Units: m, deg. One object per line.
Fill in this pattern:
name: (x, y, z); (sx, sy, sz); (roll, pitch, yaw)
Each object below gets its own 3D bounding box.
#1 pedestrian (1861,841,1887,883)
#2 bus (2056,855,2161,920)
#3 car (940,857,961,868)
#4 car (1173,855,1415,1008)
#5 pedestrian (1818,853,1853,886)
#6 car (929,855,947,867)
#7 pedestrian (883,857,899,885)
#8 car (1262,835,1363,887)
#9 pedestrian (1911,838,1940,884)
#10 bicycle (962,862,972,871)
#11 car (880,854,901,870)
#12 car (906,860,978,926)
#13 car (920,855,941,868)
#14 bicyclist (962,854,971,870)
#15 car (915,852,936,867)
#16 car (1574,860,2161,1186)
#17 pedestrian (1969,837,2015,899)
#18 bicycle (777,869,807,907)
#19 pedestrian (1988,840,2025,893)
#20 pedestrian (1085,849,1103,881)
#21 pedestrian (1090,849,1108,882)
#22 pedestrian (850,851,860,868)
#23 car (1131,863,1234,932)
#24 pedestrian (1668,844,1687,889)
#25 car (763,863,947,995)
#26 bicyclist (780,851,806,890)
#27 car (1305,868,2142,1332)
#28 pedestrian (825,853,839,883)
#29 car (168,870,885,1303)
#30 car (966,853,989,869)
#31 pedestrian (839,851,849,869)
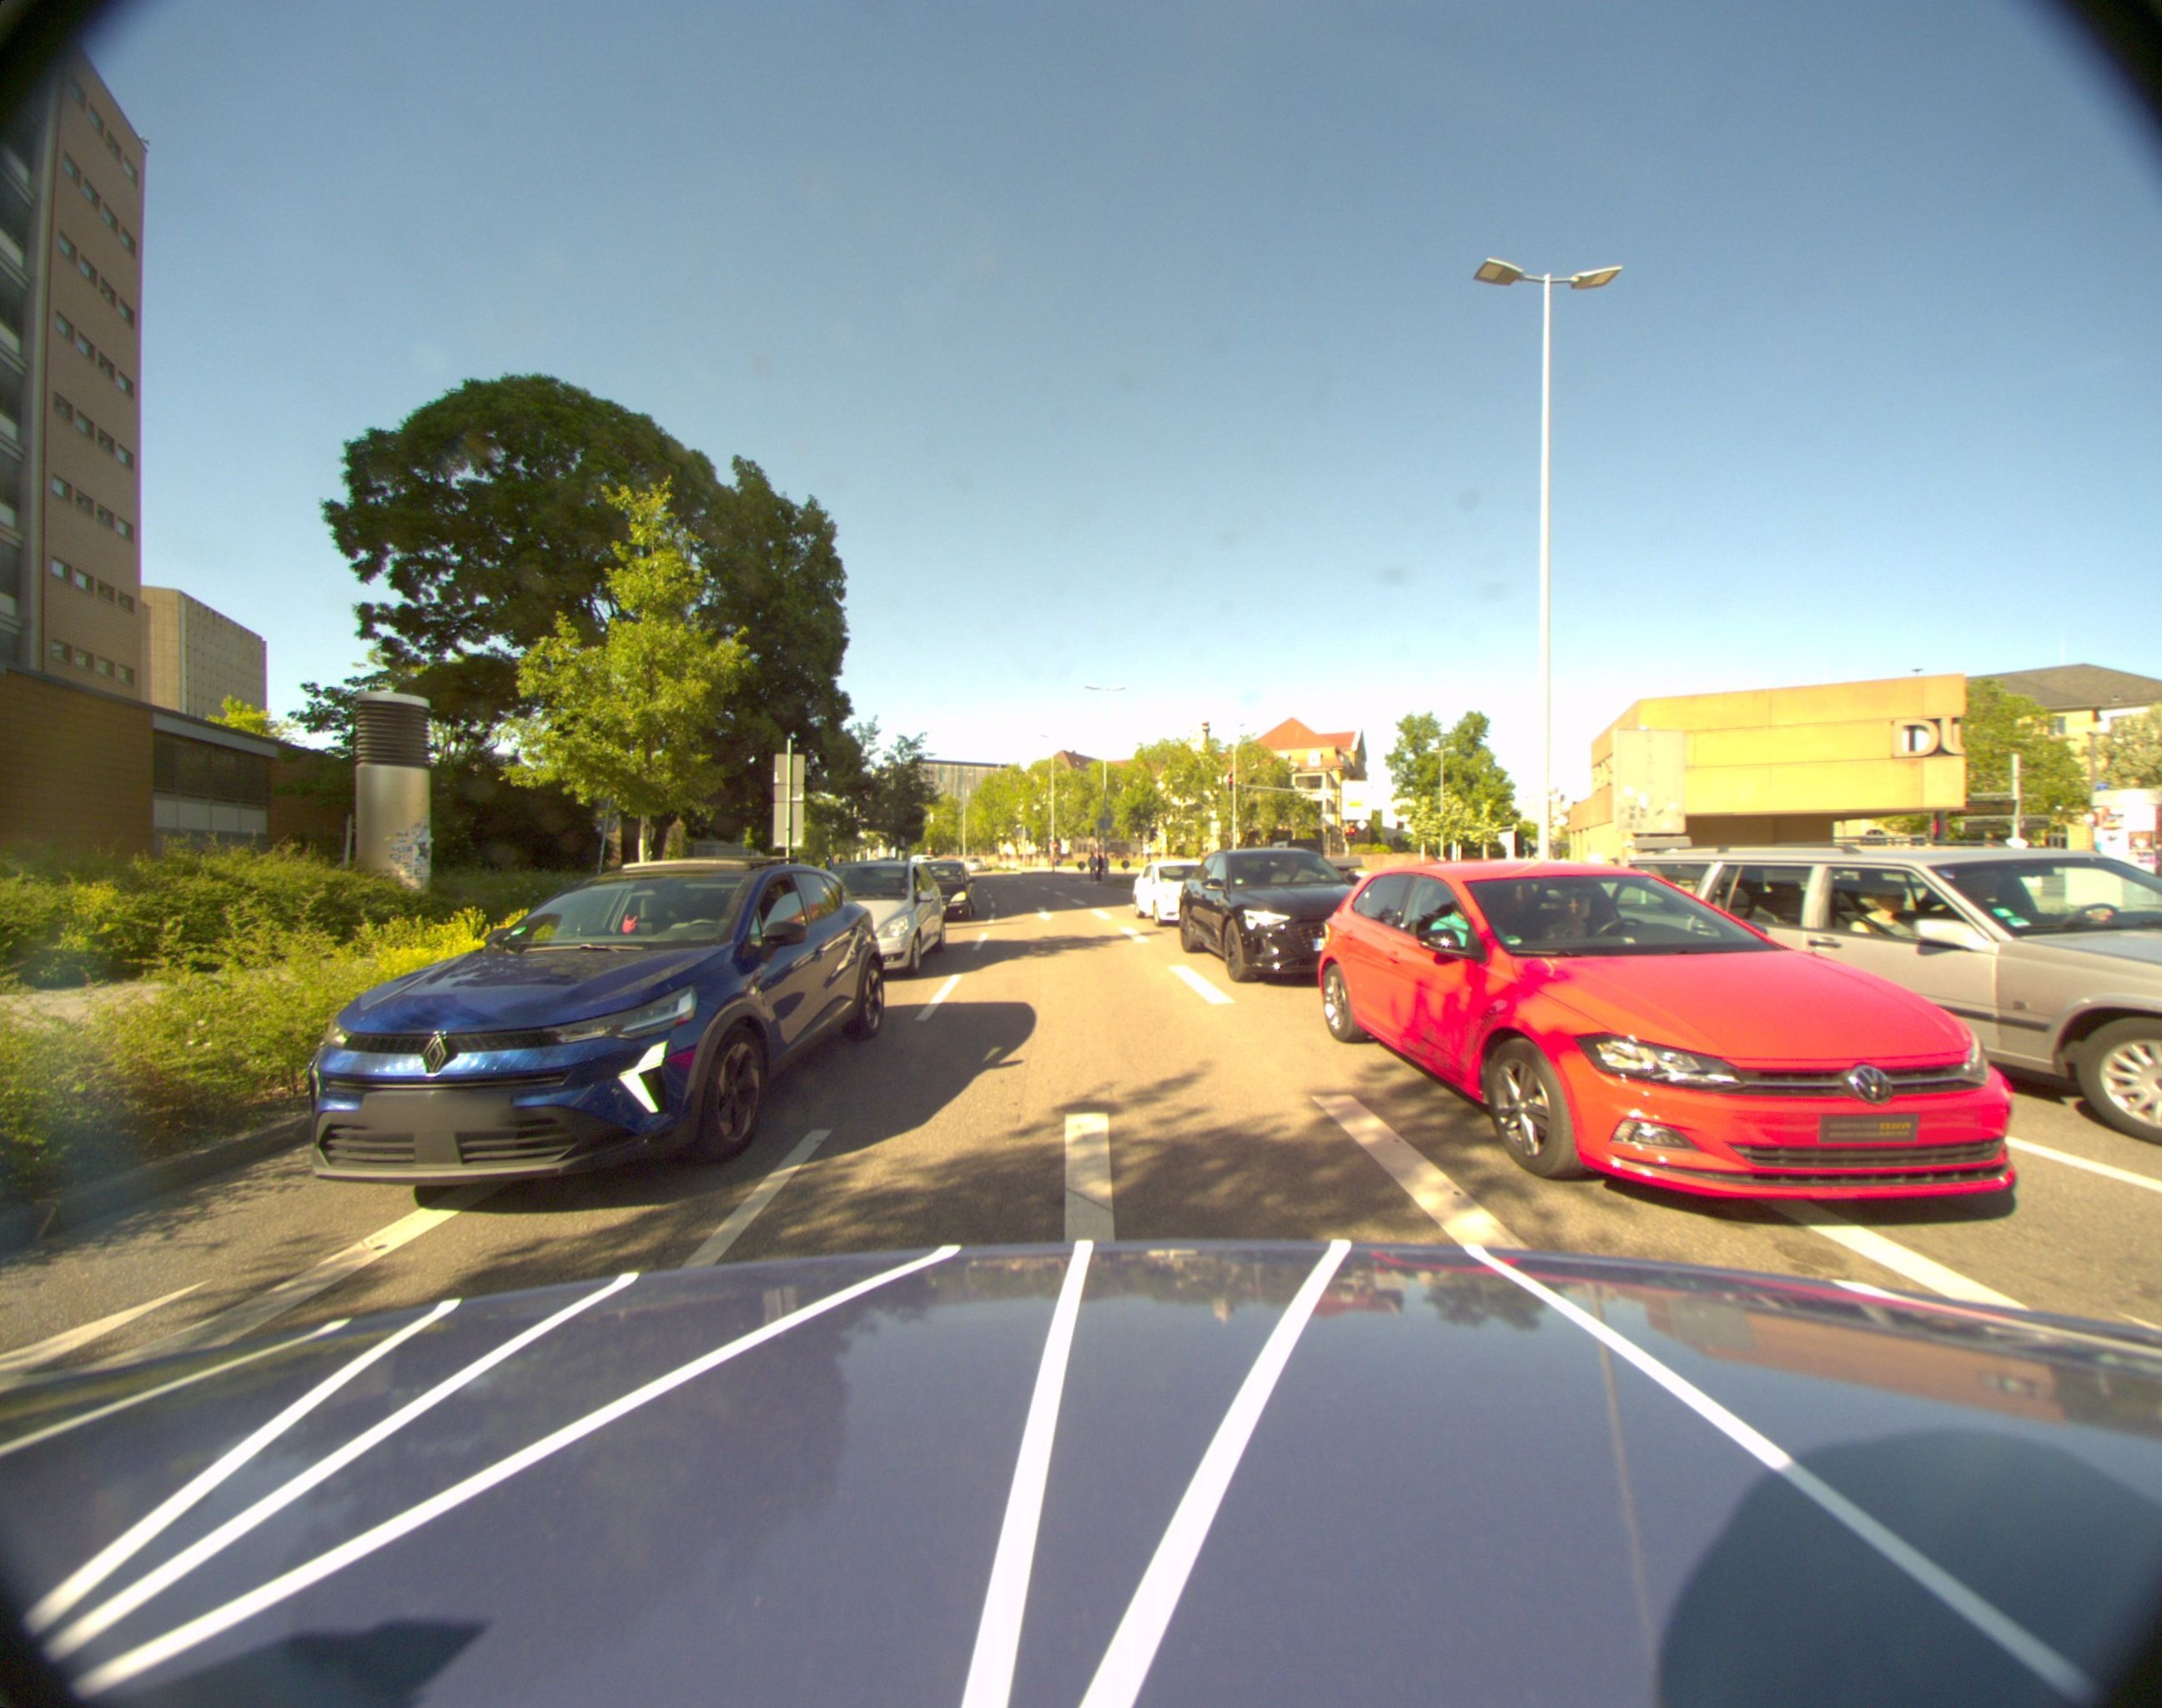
pedestrian: (33.320, 0.331, 31.925); (0.645, 1.766, 0.468); (-1, 1, -4)
bus: (21.653, 0.653, 14.085); (1.646, 1.234, 4.181); (0, 0, -5)
car: (-15.871, 1.003, 92.314); (1.587, 1.198, 3.991); (-2, 2, -23)
car: (2.558, 0.828, 10.364); (1.859, 1.606, 4.452); (0, 0, -3)
pedestrian: (30.164, 0.613, 30.384); (0.645, 1.303, 0.763); (-1, 0, 10)
car: (-18.553, 0.908, 98.570); (1.598, 1.596, 3.066); (-1, 0, -26)
pedestrian: (-10.905, 0.950, 43.634); (0.694, 1.594, 0.660); (-1, 0, -30)
car: (11.090, 0.329, 37.048); (2.117, 2.300, 6.209); (-1, 0, -10)
pedestrian: (32.978, 0.278, 29.675); (0.645, 1.766, 0.468); (-1, 1, -4)
bicycle: (-11.795, 1.276, 78.586); (0.591, 0.884, 1.652); (-2, 0, -22)
car: (-21.766, 0.893, 86.828); (1.830, 1.842, 3.745); (0, 0, -21)
car: (-3.693, 0.993, 20.687); (1.651, 1.601, 3.488); (0, 0, -6)
car: (-16.723, 0.866, 84.370); (1.754, 1.370, 3.568); (-1, 0, -21)
bicyclist: (-11.806, 0.835, 78.576); (0.696, 1.549, 0.814); (-2, 1, -22)
car: (-21.627, 0.782, 105.433); (1.790, 2.002, 4.223); (-2, 1, -26)
car: (5.756, 0.795, 5.004); (1.713, 1.464, 4.750); (-1, 0, -4)
pedestrian: (26.724, 0.396, 22.293); (0.646, 1.778, 0.666); (-2, 1, -19)
bicycle: (-9.956, 1.155, 26.210); (0.692, 1.211, 1.832); (2, 0, -13)
pedestrian: (31.262, 0.408, 25.669); (0.644, 1.766, 0.469); (0, 1, 21)
pedestrian: (0.768, 0.623, 44.488); (0.887, 1.814, 0.776); (-2, 1, -7)
pedestrian: (1.033, 0.640, 43.252); (0.757, 1.814, 0.775); (-2, 1, -17)
pedestrian: (-25.124, 0.595, 84.520); (0.823, 1.906, 0.770); (-2, 1, -29)
car: (2.253, 0.931, 17.779); (1.575, 1.410, 3.711); (0, 0, -6)
pedestrian: (23.946, 0.489, 30.506); (0.467, 1.766, 0.647); (0, 1, 29)
car: (-3.188, 0.961, 11.577); (1.786, 1.615, 4.042); (0, 0, -3)
bicyclist: (-9.920, 0.561, 26.179); (0.723, 1.271, 0.906); (2, 0, -15)
car: (2.779, 0.877, 4.526); (1.674, 1.464, 3.853); (-2, 0, -1)
pedestrian: (-13.645, 0.761, 41.599); (0.693, 1.594, 0.660); (0, 0, -16)
car: (-2.699, 0.959, 5.026); (1.705, 1.596, 4.084); (-1, 0, 0)
car: (-11.404, 0.794, 83.445); (1.527, 1.669, 3.374); (-2, 0, -24)
pedestrian: (-26.276, 0.638, 84.255); (0.823, 1.906, 0.770); (-2, 1, -29)
